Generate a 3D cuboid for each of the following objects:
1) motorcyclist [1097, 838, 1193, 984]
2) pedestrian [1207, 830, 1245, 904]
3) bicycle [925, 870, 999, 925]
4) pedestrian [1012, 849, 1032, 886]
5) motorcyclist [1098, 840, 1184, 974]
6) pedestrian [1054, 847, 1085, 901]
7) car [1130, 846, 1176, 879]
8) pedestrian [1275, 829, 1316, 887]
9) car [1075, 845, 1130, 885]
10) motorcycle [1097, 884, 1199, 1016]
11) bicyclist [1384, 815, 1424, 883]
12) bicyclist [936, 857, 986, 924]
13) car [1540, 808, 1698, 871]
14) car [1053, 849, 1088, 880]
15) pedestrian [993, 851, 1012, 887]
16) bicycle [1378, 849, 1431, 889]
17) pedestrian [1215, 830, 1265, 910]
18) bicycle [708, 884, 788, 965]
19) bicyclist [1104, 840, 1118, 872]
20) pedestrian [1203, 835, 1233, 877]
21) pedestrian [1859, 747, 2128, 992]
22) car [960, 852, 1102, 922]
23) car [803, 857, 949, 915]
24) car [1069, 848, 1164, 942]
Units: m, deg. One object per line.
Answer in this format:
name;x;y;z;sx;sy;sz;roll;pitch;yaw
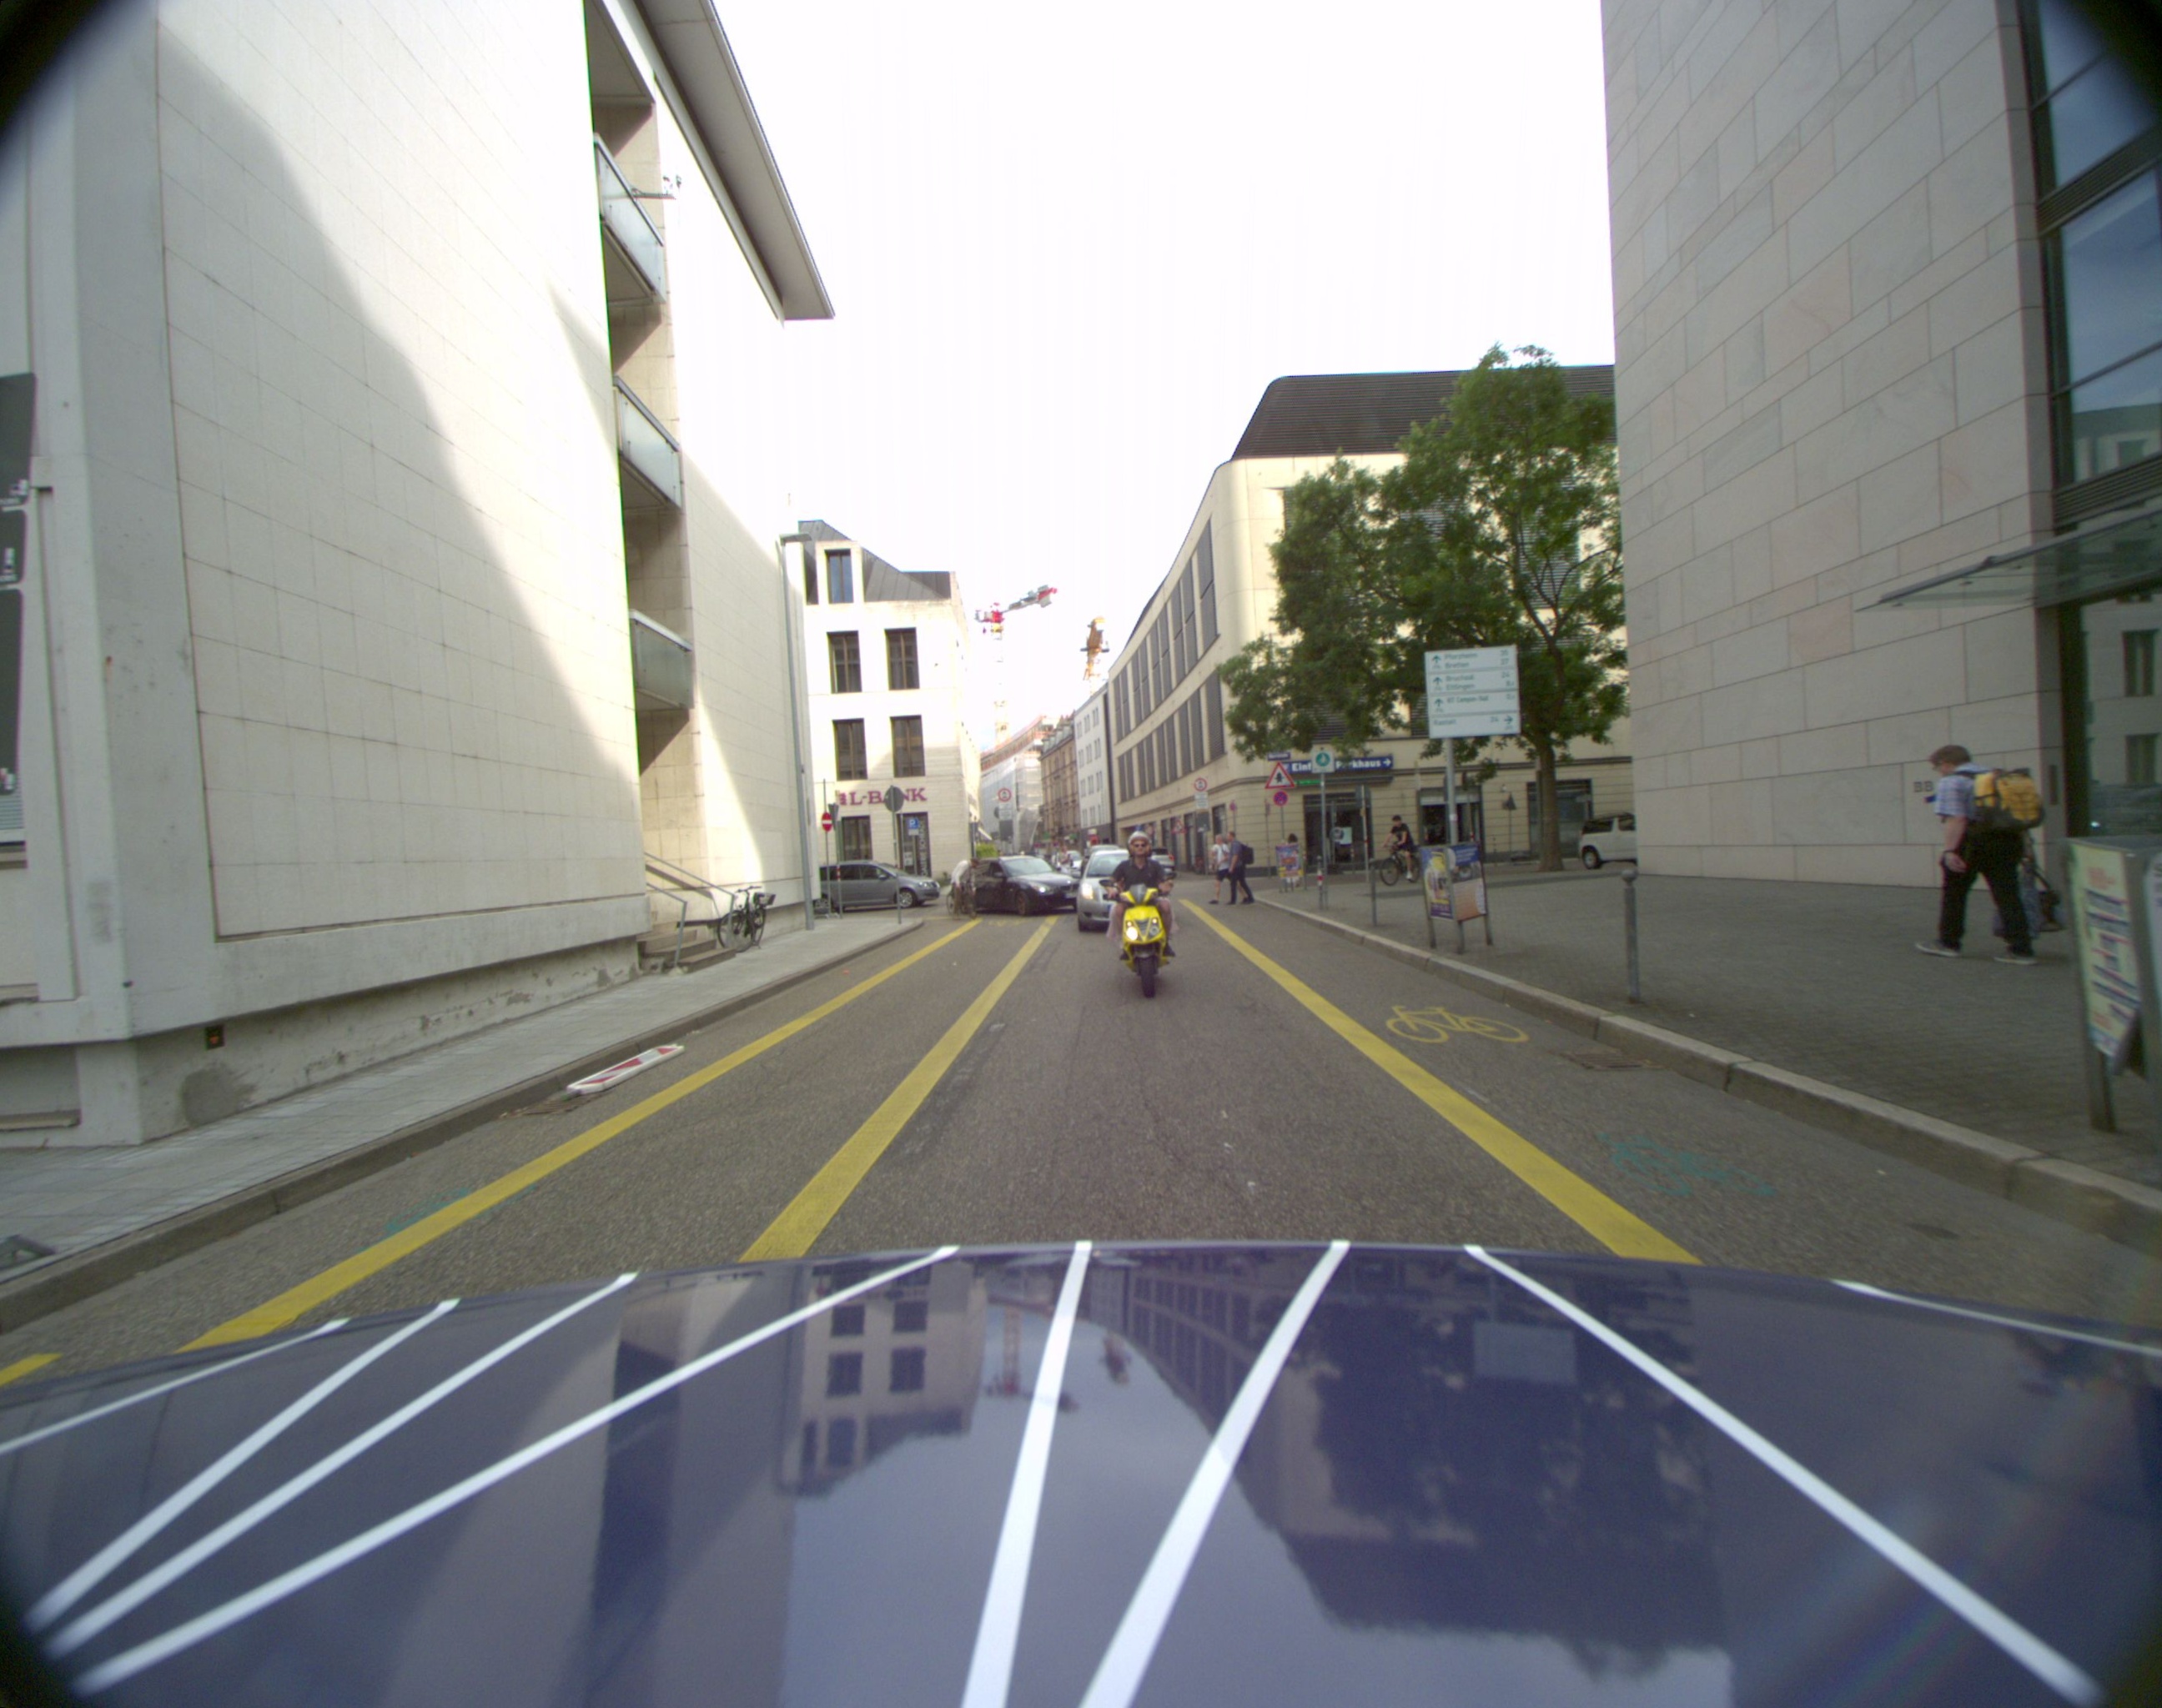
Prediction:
motorcyclist;0.653;0.572;8.166;0.924;1.445;1.065;-2;1;1
pedestrian;3.598;0.319;18.896;0.644;1.755;0.653;-4;1;-10
bicycle;-3.029;1.047;19.034;0.872;1.188;2.857;-4;1;-28
pedestrian;-3.036;0.700;39.204;0.861;1.820;0.774;-3;2;-1
motorcyclist;0.665;0.574;8.677;0.903;1.445;0.742;-2;1;1
pedestrian;-0.425;0.700;26.808;0.774;1.820;0.860;-4;2;-18
car;3.723;0.420;39.969;1.563;1.548;4.100;-4;1;-5
pedestrian;6.730;0.121;23.902;0.879;1.699;0.910;-7;2;2
car;0.858;0.430;32.491;1.710;1.482;4.100;-4;1;-7
motorcycle;0.667;0.973;8.402;0.929;1.159;2.127;-2;1;1
bicyclist;8.109;-0.125;19.065;0.621;1.610;0.645;-5;0;42
bicyclist;-2.997;0.889;18.956;0.894;1.585;0.875;-4;2;-28
car;16.291;-0.396;23.305;1.899;1.683;3.963;-3;0;-2
car;-0.641;0.541;42.704;1.563;1.548;4.100;-4;1;-5
pedestrian;-4.087;0.761;39.802;0.861;1.820;0.773;-3;2;-5
bicycle;8.136;0.369;19.055;0.600;0.829;1.728;-7;-2;42
pedestrian;3.784;0.377;18.124;0.745;1.804;0.756;-7;2;-10
bicycle;-5.707;1.172;13.134;0.590;1.161;1.814;-3;1;-3
bicyclist;1.595;0.099;40.485;0.645;1.644;0.939;-1;2;-6
pedestrian;6.096;0.081;33.803;0.892;1.755;1.060;-7;1;-4
pedestrian;7.134;0.113;6.001;1.028;1.710;0.818;-5;1;2
car;-1.355;0.789;19.217;1.720;1.482;3.755;-5;1;-37
car;-6.631;1.009;24.888;4.193;1.581;1.815;-3;1;0
car;0.733;0.702;15.082;1.562;1.482;3.784;-4;1;4
